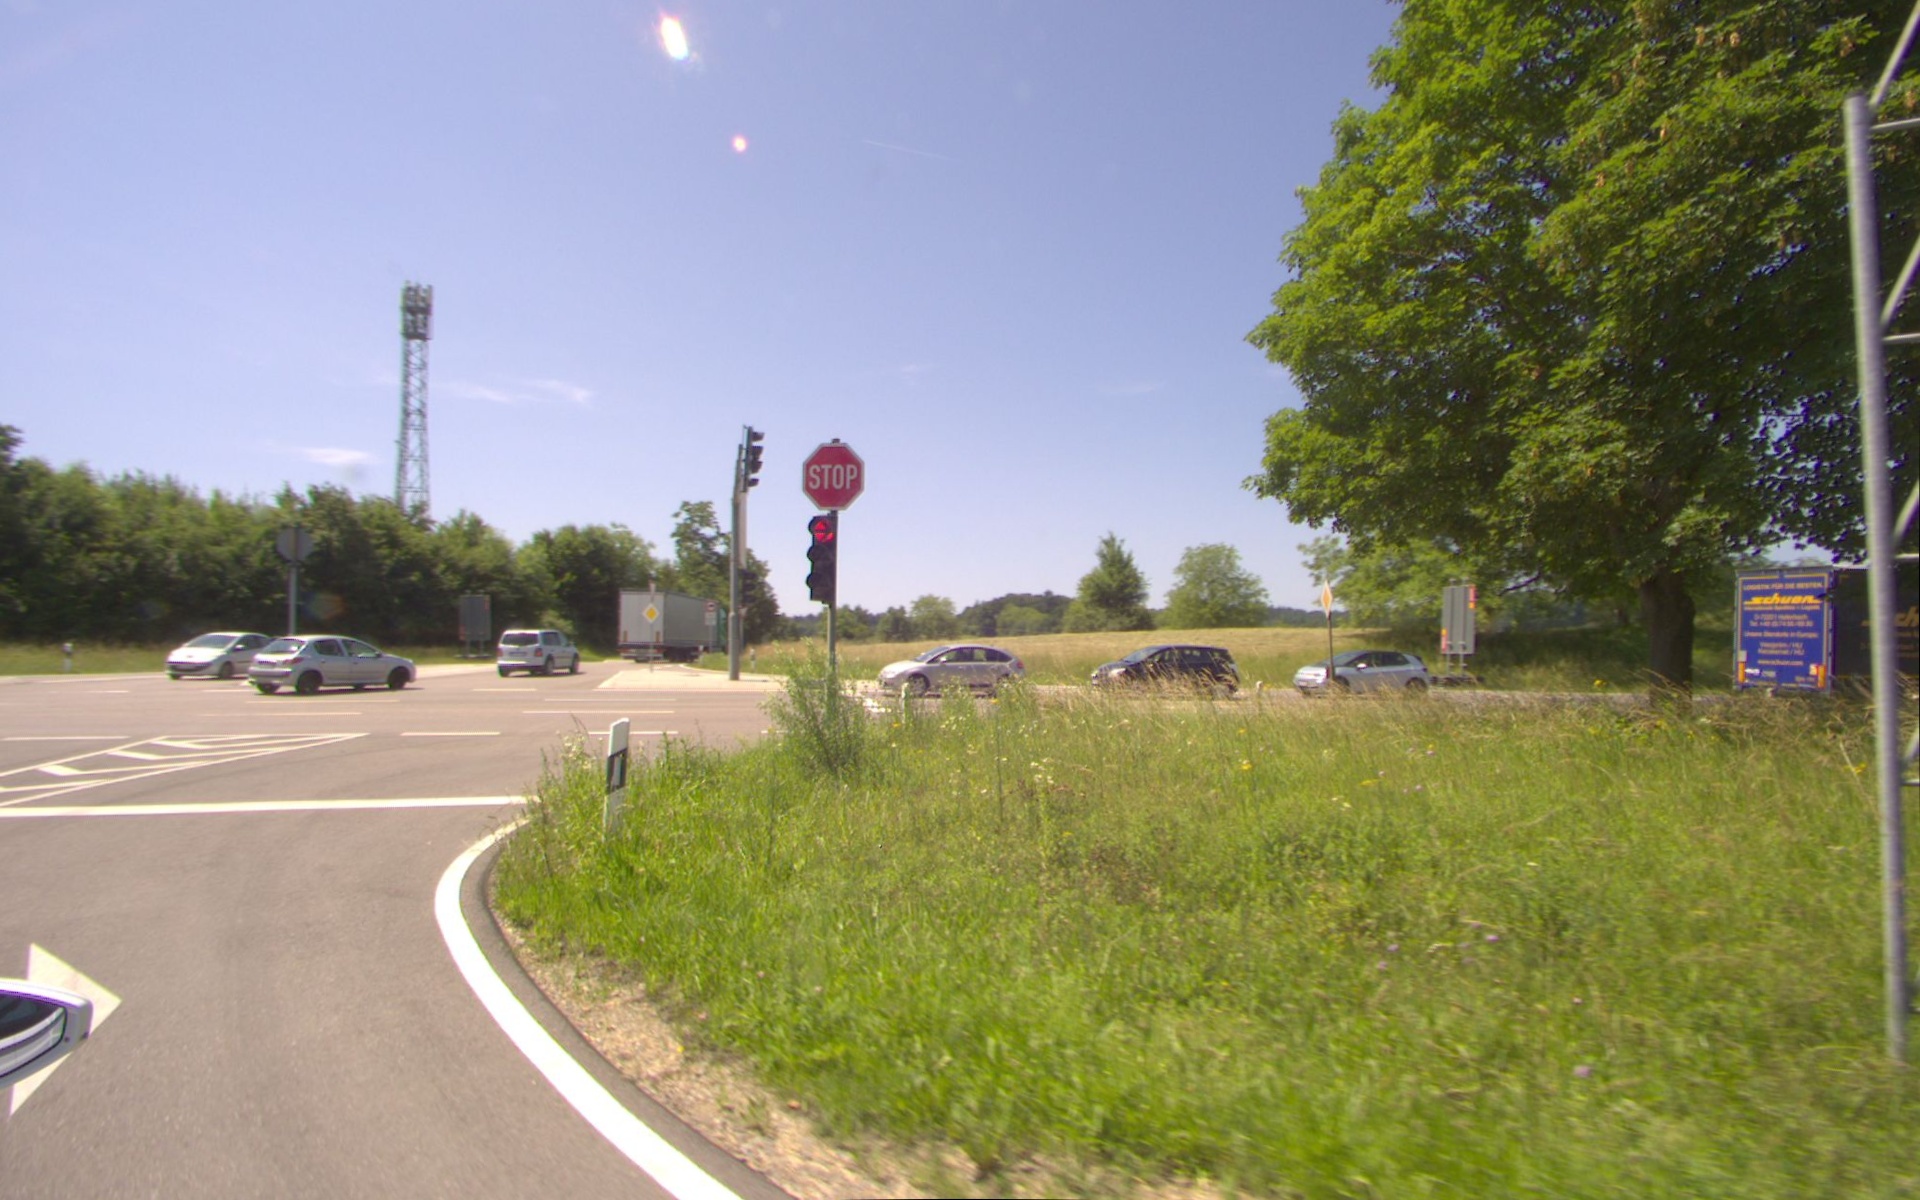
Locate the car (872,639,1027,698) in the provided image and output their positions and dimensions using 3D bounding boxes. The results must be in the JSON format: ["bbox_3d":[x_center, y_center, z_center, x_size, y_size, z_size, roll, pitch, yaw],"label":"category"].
[{"bbox_3d":[-0.324,1.935,28.458,4.095,1.489,1.727,2,0,-14],"label":"car"}]

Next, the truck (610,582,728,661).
[{"bbox_3d":[-17.816,1.543,63.032,3.075,4.225,16.696,1,-3,-2],"label":"truck"}]

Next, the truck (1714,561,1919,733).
[{"bbox_3d":[28.873,1.395,27.332,16.498,4.184,2.851,1,-1,-10],"label":"truck"}]

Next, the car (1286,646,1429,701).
[{"bbox_3d":[12.612,2.326,31.841,3.946,1.573,1.654,2,0,-11],"label":"car"}]

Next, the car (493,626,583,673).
[{"bbox_3d":[-15.495,1.782,36.987,1.783,1.646,4.060,0,-1,-3],"label":"car"}]

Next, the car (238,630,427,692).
[{"bbox_3d":[-16.033,1.520,25.792,1.788,1.431,3.774,1,-1,23],"label":"car"}]

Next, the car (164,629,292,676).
[{"bbox_3d":[-23.114,1.616,31.776,1.540,1.388,3.532,1,-1,-2],"label":"car"}]

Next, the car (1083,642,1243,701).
[{"bbox_3d":[5.995,2.102,29.718,4.301,1.573,1.728,2,0,-11],"label":"car"}]
